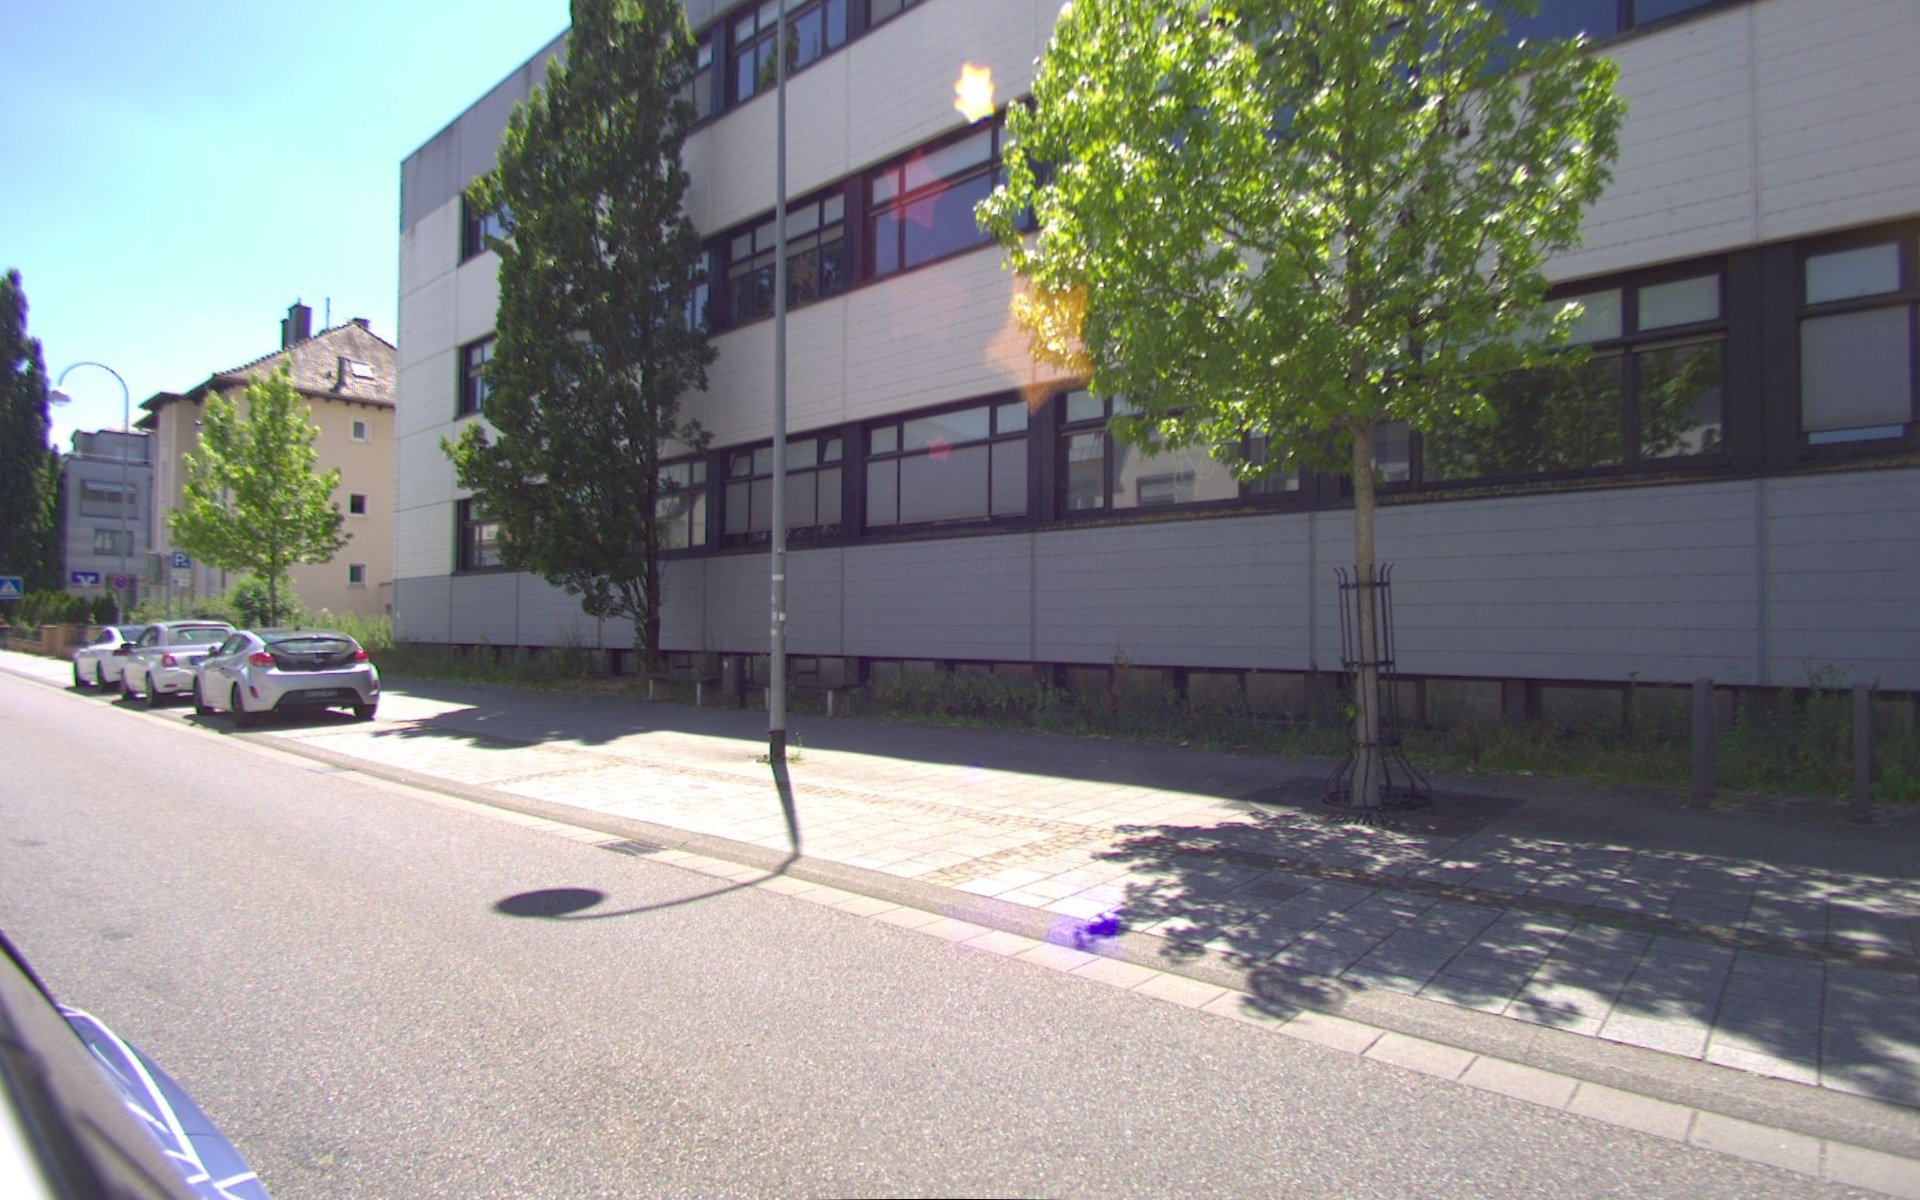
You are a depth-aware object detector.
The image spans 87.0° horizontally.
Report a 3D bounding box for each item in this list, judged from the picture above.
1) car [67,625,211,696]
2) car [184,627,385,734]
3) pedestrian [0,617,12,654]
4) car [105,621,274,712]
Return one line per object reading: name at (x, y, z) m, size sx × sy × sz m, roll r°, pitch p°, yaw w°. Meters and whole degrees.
car at (-18.579, 1.292, 22.836) m, size 4.575 × 1.422 × 1.803 m, roll -1°, pitch -1°, yaw 41°
car at (-10.606, 1.148, 15.787) m, size 3.932 × 1.420 × 1.729 m, roll -1°, pitch -1°, yaw 42°
pedestrian at (-44.196, 1.652, 46.717) m, size 0.708 × 1.698 × 0.531 m, roll -1°, pitch -2°, yaw 41°
car at (-14.931, 1.194, 19.521) m, size 4.287 × 1.523 × 1.803 m, roll -1°, pitch -1°, yaw 41°
